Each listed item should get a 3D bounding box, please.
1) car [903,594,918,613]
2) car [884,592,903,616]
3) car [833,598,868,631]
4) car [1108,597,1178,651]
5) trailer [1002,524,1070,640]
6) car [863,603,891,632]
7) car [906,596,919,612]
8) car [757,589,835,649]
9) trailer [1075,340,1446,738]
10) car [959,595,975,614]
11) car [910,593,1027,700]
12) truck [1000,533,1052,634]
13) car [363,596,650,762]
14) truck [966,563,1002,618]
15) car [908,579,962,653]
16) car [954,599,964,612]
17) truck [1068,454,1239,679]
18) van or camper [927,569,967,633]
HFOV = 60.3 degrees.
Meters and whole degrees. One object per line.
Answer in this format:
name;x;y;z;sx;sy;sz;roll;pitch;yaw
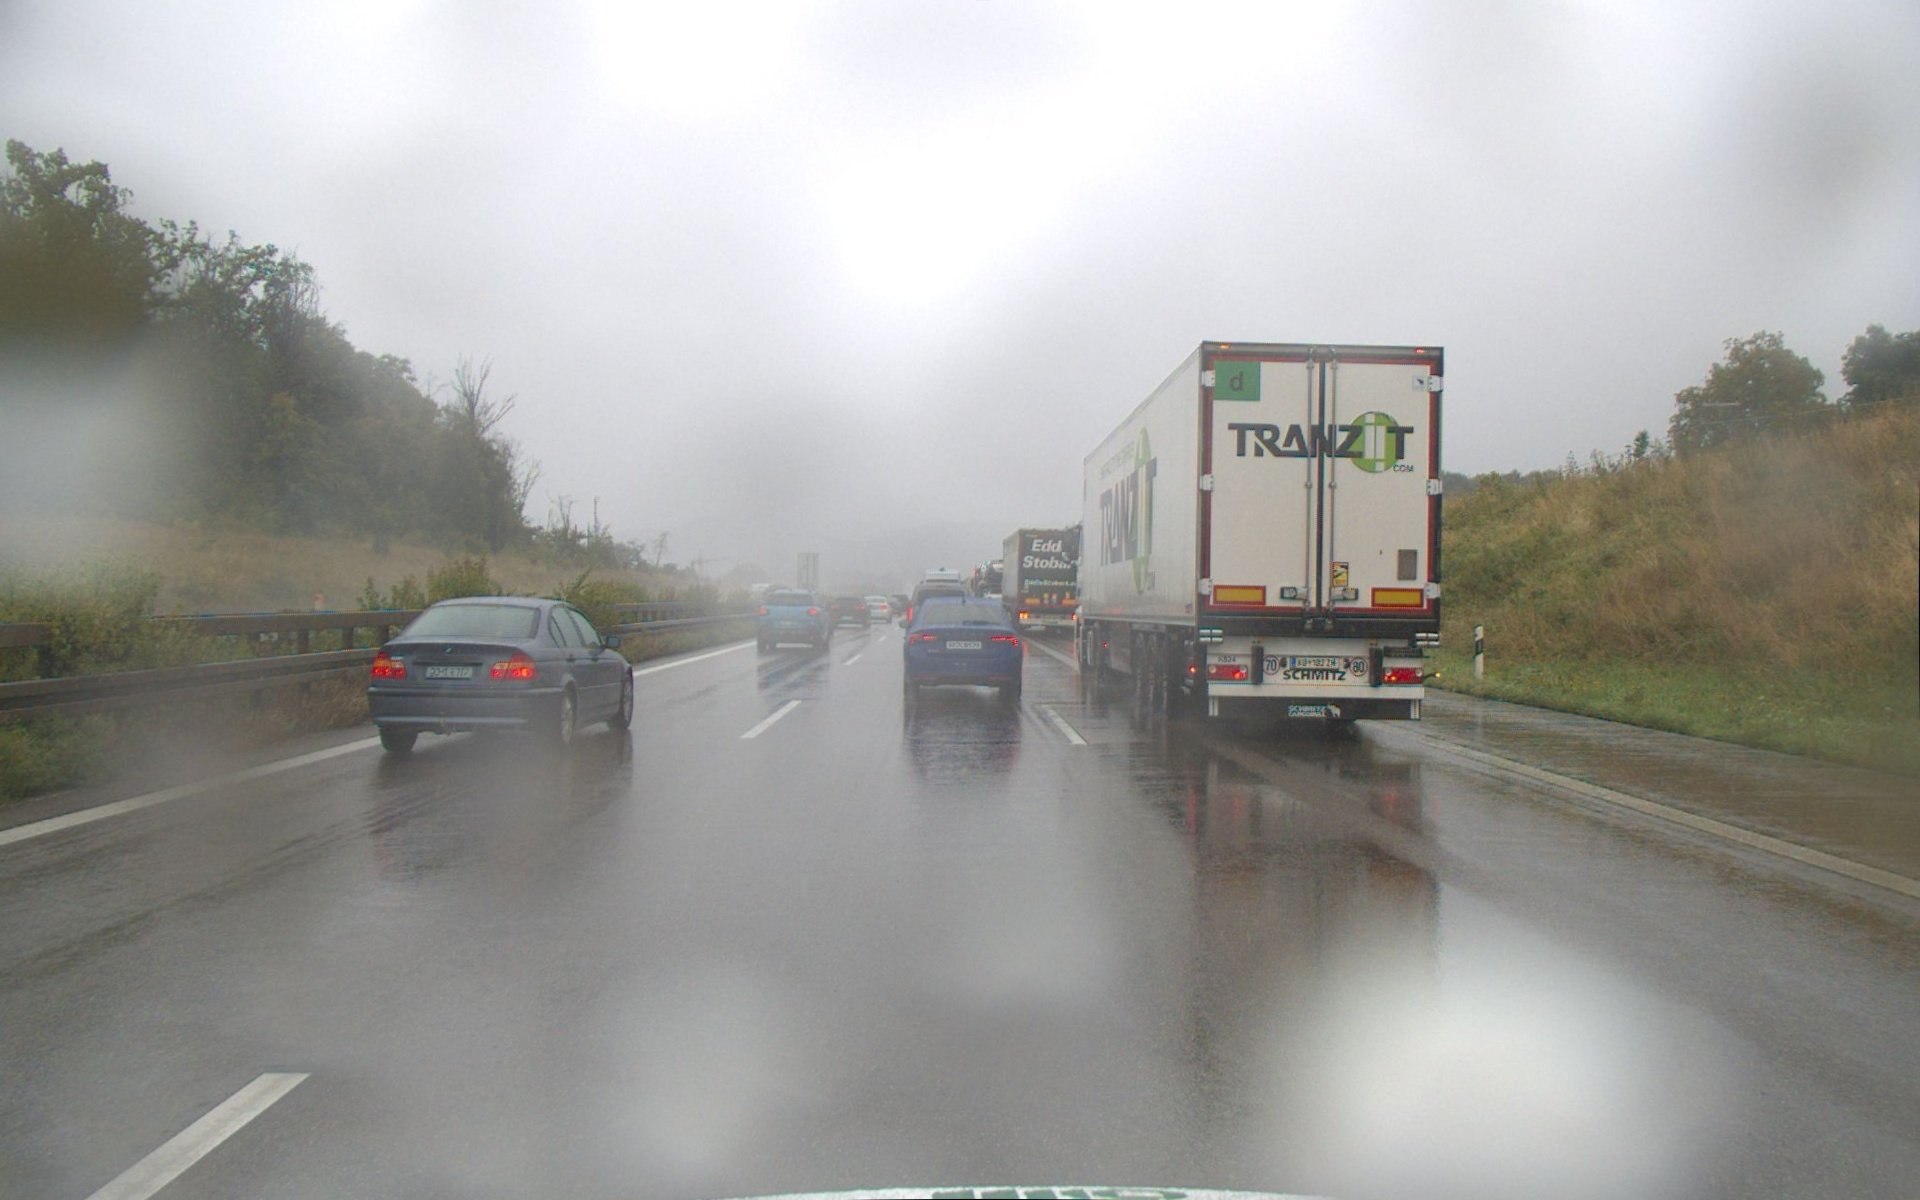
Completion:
car;-4.792;0.339;160.695;1.419;1.815;3.408;1;0;-1
car;-5.173;0.325;129.103;1.419;1.815;3.408;1;0;-1
car;-4.919;0.638;74.720;1.410;1.445;3.321;0;0;-1
car;4.691;0.598;42.736;1.395;1.310;3.460;0;0;-1
trailer;2.933;-0.682;66.417;2.005;4.250;11.446;0;0;-1
car;-4.586;0.947;91.432;1.410;1.560;3.321;0;0;-1
car;-5.350;0.445;186.143;1.419;1.815;3.408;1;0;-1
car;-4.397;0.496;44.751;1.686;1.550;4.000;0;0;0
trailer;3.616;-0.665;24.394;2.577;4.083;14.626;0;0;-1
car;0.666;0.429;159.443;1.419;1.815;3.408;1;0;-1
car;0.115;0.640;24.935;1.602;1.470;4.000;0;0;0
truck;2.861;-0.710;72.250;2.005;4.266;3.999;0;0;-1
car;-4.321;0.688;16.439;1.683;1.424;4.229;0;0;0
truck;1.532;-0.651;109.679;1.953;3.481;8.029;0;1;-2
car;-0.640;0.395;42.488;1.309;1.811;3.321;0;0;-1
car;-0.111;0.816;247.200;1.419;1.815;3.408;1;0;-1
truck;3.521;-0.595;31.163;2.577;3.894;4.790;0;0;-1
van or camper;-0.631;0.021;76.842;1.761;2.855;4.767;0;0;-1
